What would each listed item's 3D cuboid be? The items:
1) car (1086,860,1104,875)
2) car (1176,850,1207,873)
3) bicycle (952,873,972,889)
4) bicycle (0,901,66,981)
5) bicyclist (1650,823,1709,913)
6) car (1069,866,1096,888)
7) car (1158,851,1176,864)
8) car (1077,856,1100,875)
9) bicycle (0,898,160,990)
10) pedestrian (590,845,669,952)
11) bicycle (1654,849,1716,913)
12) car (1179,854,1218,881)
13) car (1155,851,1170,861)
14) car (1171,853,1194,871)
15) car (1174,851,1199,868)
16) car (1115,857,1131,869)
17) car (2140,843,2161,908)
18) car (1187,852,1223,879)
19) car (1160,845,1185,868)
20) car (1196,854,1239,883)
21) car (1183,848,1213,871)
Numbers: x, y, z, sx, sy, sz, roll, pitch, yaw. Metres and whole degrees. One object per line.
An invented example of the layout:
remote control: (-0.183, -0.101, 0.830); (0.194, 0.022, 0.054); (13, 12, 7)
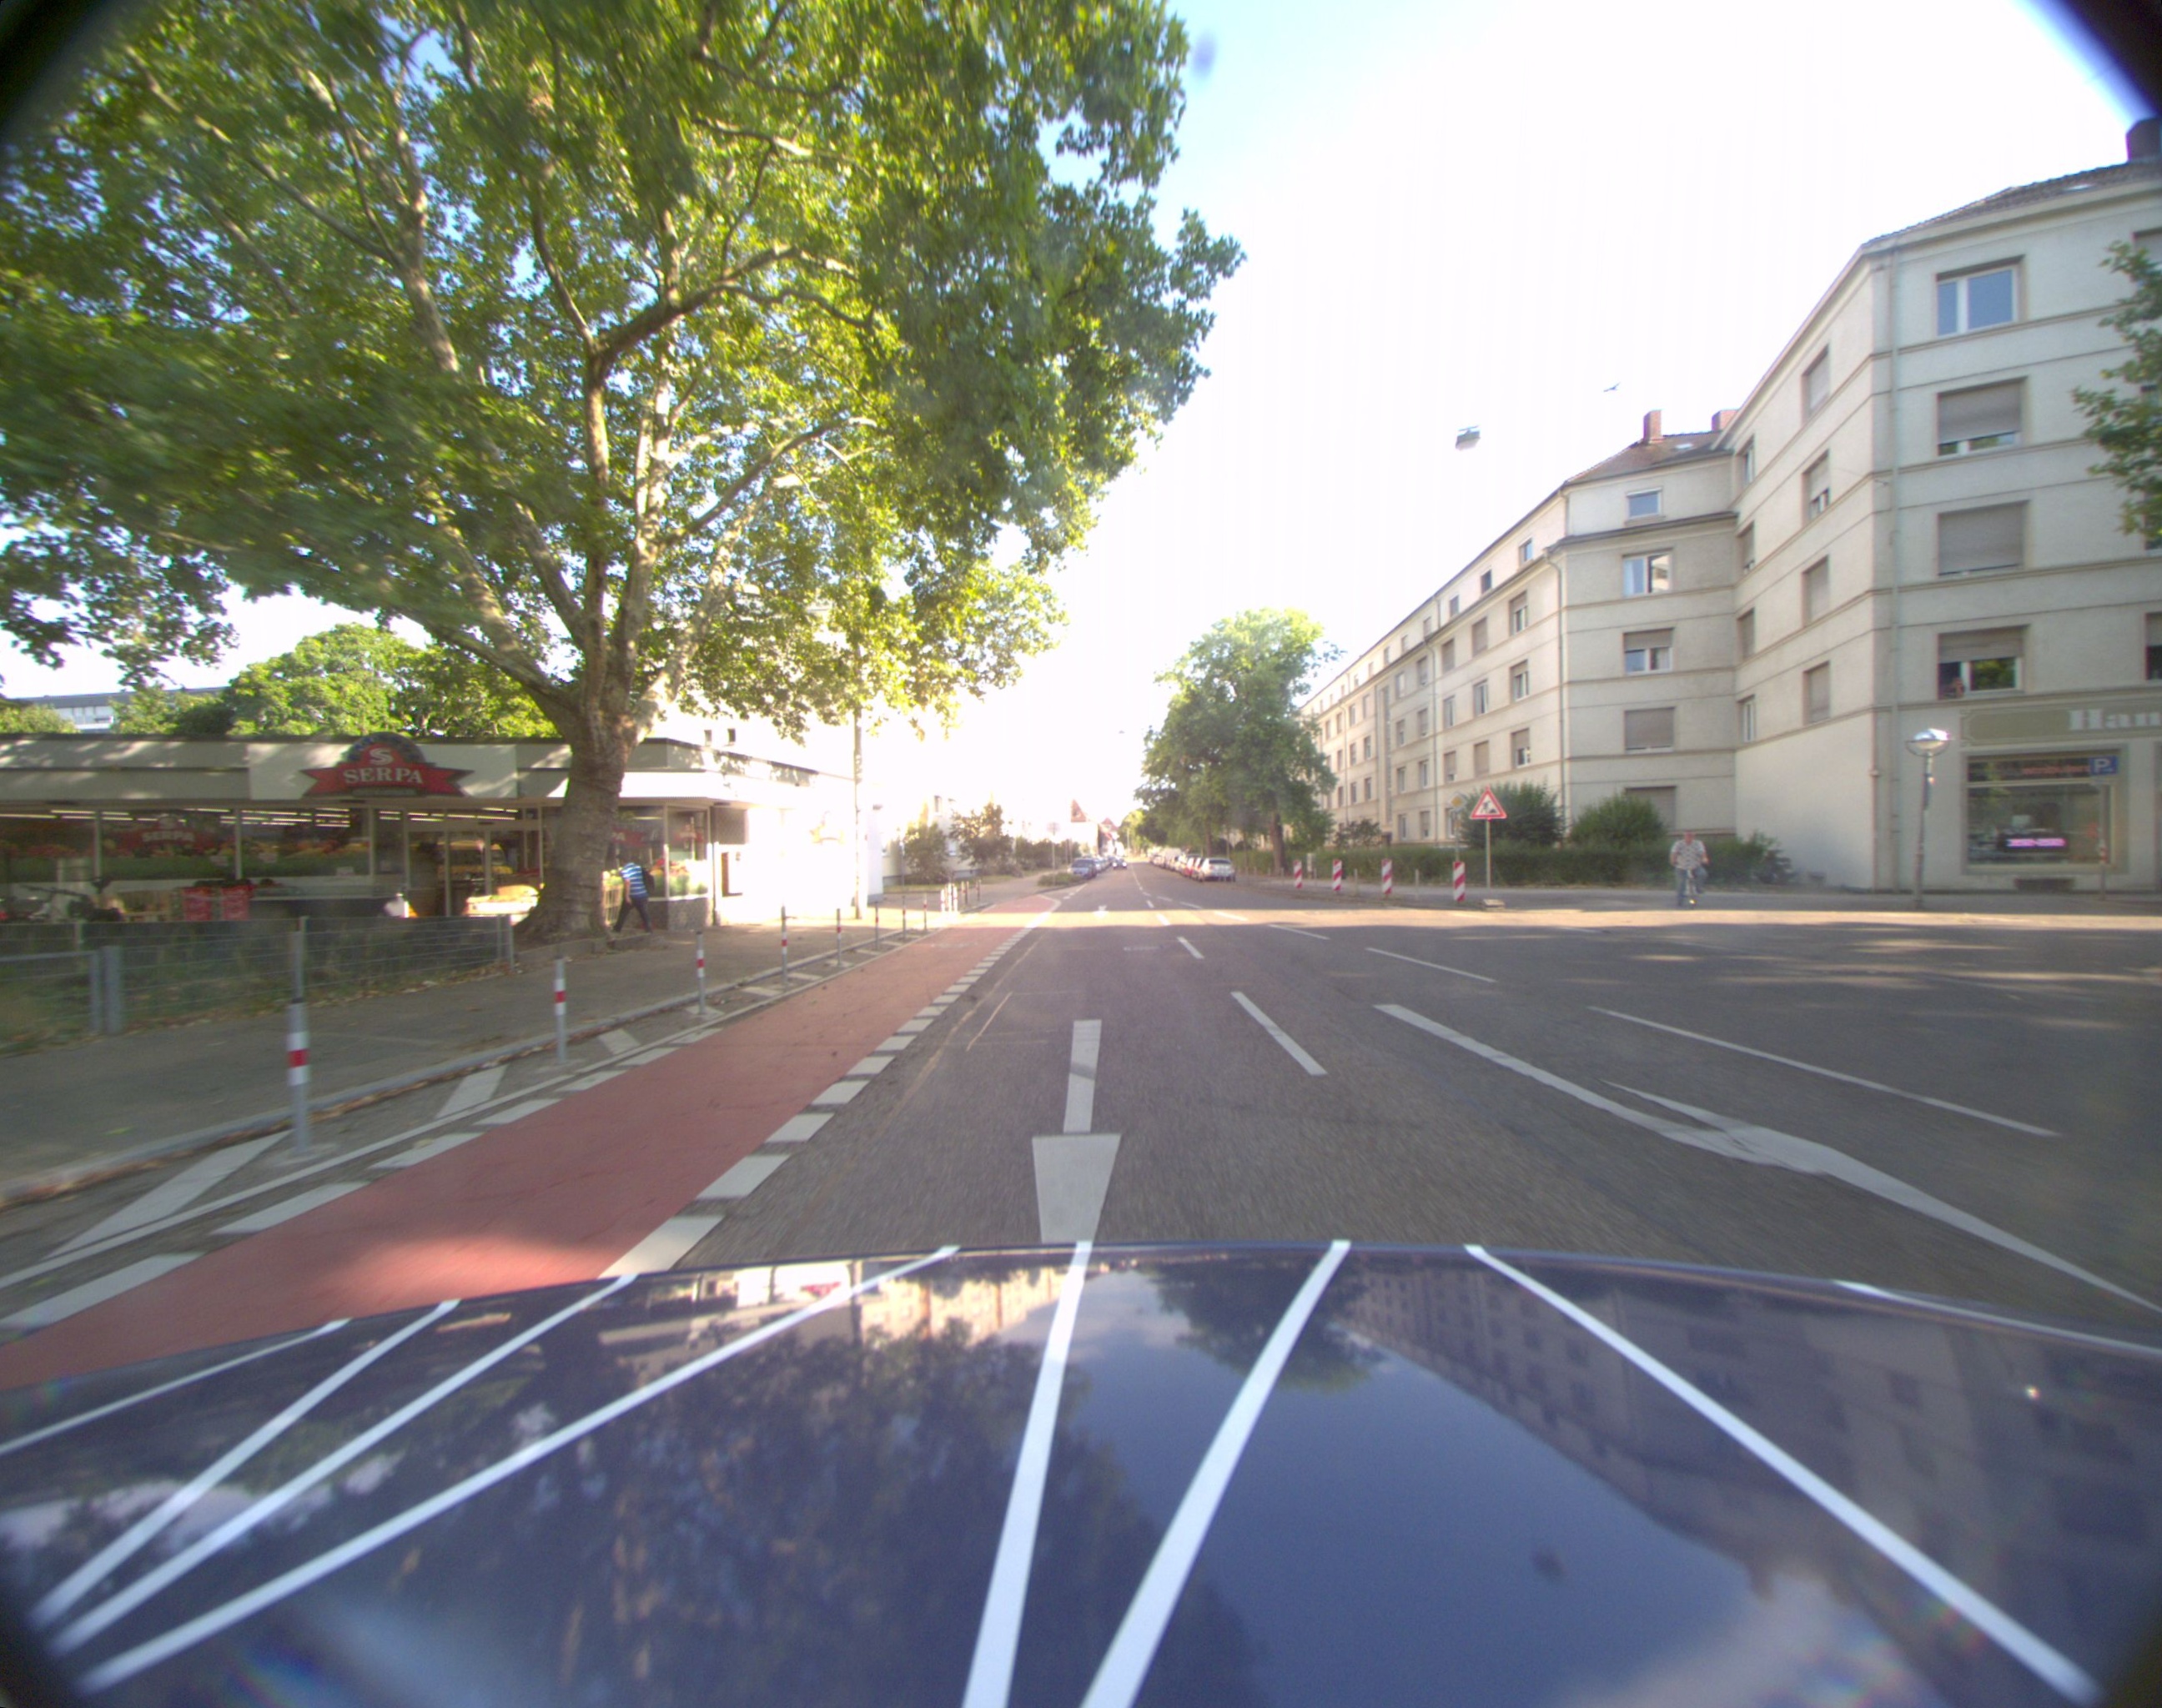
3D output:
car: (1.590, 1.401, 82.964); (1.683, 1.407, 4.724); (-3, 1, 3)
car: (8.523, 0.518, 58.820); (1.875, 1.549, 4.498); (-5, 0, 4)
bicycle: (-7.236, 1.655, 46.243); (0.638, 0.919, 2.231); (-3, -2, 4)
bicycle: (-16.780, 1.369, 11.215); (0.768, 1.166, 2.423); (-4, 1, -15)
bicyclist: (13.740, 0.322, 17.463); (0.974, 2.002, 0.799); (-3, 1, 38)
car: (0.132, 1.722, 58.336); (1.744, 1.465, 4.000); (-3, 1, 3)
car: (12.298, 0.457, 108.442); (1.878, 1.347, 4.653); (12, 1, 1)
car: (0.749, 1.058, 71.979); (1.902, 1.641, 4.344); (-2, 0, 3)
bicycle: (-15.772, 1.343, 11.653); (0.768, 1.166, 2.423); (-4, 1, -15)
pedestrian: (-8.762, 0.849, 14.793); (1.154, 2.002, 0.828); (1, 1, -18)
bicycle: (13.743, 0.588, 17.317); (1.008, 1.257, 2.488); (-3, 1, 38)
car: (8.328, 0.936, 54.059); (1.876, 1.549, 4.000); (-9, 0, -2)
car: (13.189, 0.317, 123.212); (2.009, 1.543, 4.471); (-3, 1, 2)
car: (9.986, 0.786, 75.175); (1.875, 1.549, 5.058); (3, 0, 3)
car: (9.709, 0.535, 70.122); (1.875, 1.549, 4.103); (0, -1, 3)
car: (5.500, 1.189, 98.959); (1.774, 1.491, 3.675); (-2, -1, 6)
car: (22.540, 0.500, 14.058); (1.651, 1.328, 4.041); (0, 2, 25)
car: (7.982, 0.713, 49.230); (1.708, 1.431, 4.129); (-7, 0, 3)
car: (11.005, 0.272, 91.569); (2.363, 2.431, 6.165); (-4, 0, 2)
car: (7.874, 0.818, 44.300); (1.773, 1.344, 4.711); (-7, 0, 3)
car: (9.824, 0.463, 64.059); (1.921, 1.668, 4.974); (-5, 1, 3)
